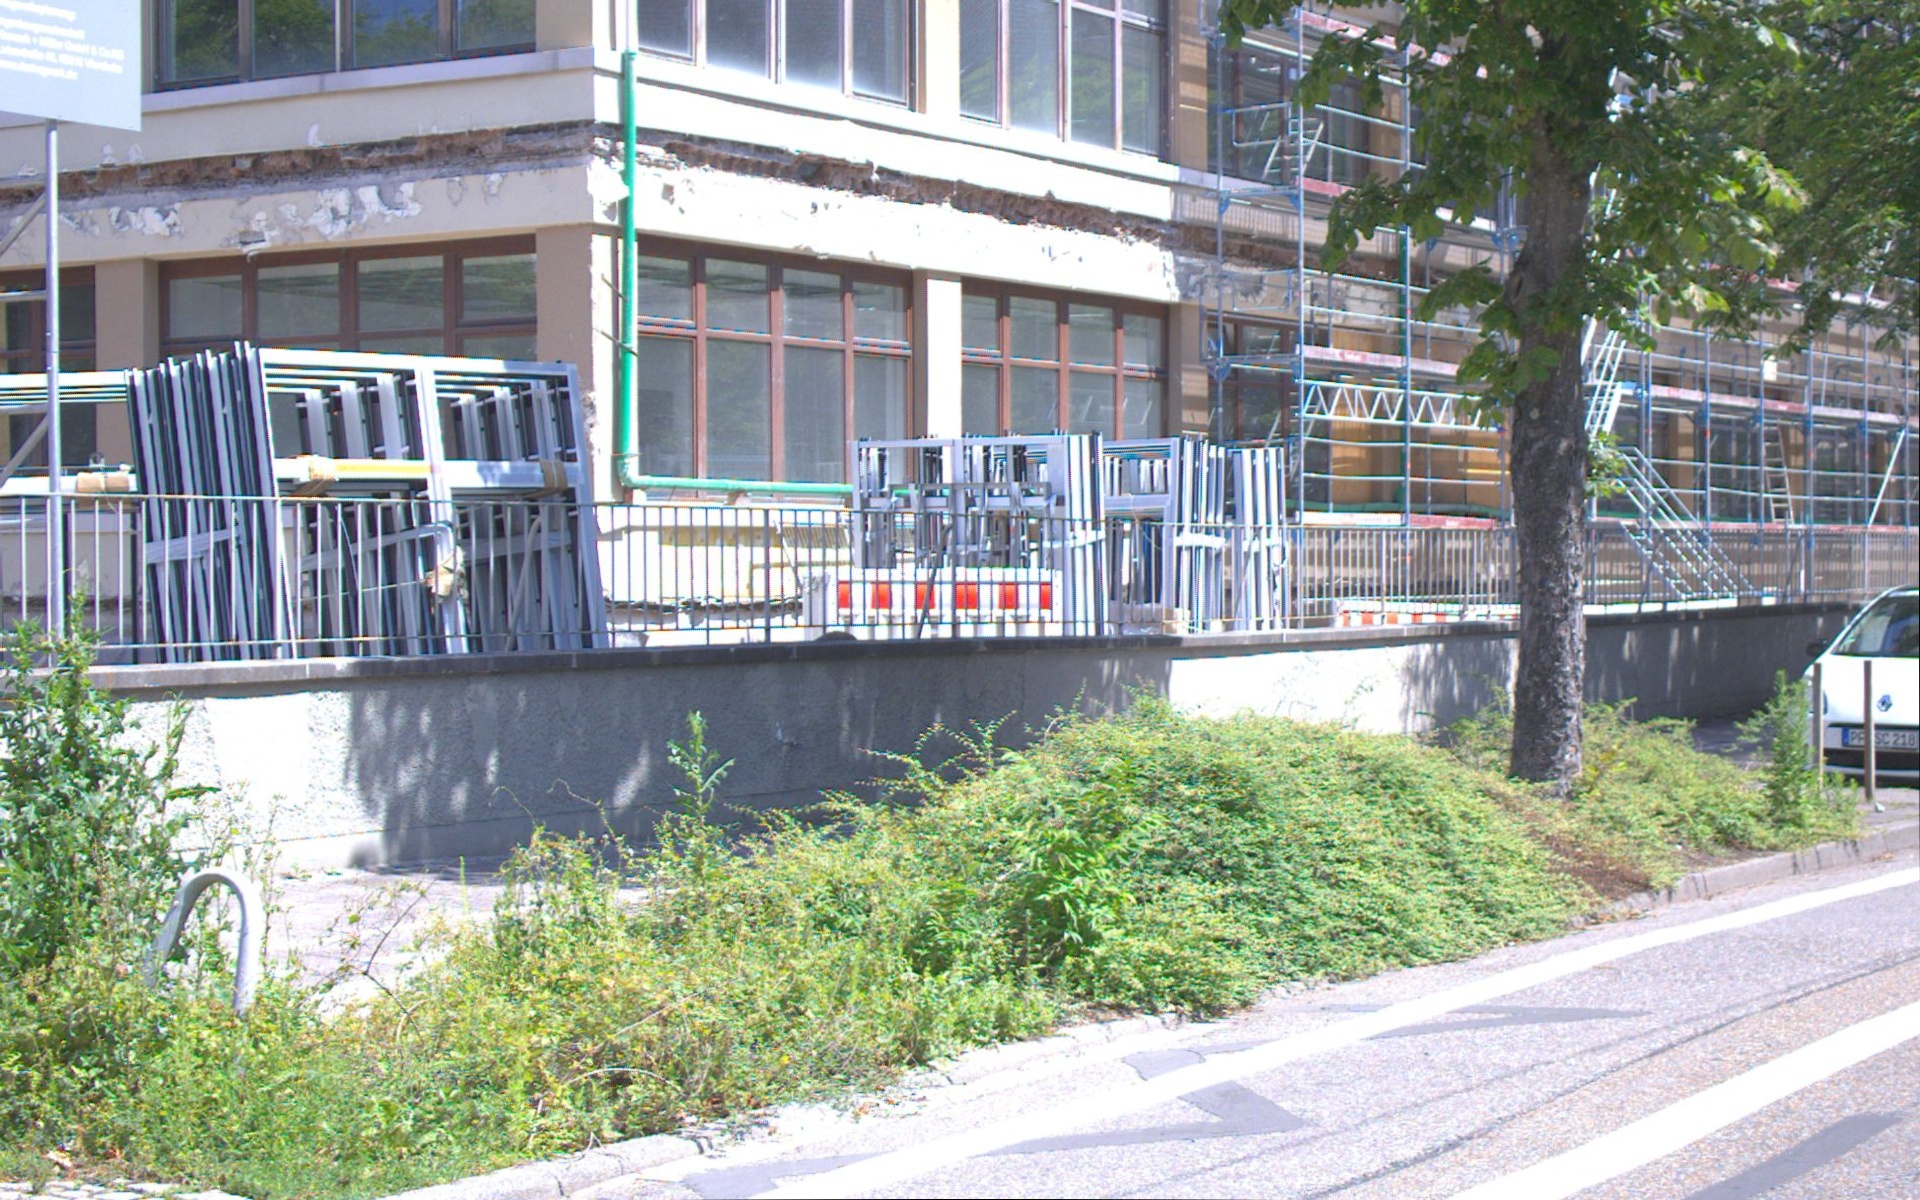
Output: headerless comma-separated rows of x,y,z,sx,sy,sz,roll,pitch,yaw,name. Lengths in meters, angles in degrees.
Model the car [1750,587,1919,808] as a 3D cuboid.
7.098,0.640,24.461,1.621,1.435,3.576,1,1,36,car
